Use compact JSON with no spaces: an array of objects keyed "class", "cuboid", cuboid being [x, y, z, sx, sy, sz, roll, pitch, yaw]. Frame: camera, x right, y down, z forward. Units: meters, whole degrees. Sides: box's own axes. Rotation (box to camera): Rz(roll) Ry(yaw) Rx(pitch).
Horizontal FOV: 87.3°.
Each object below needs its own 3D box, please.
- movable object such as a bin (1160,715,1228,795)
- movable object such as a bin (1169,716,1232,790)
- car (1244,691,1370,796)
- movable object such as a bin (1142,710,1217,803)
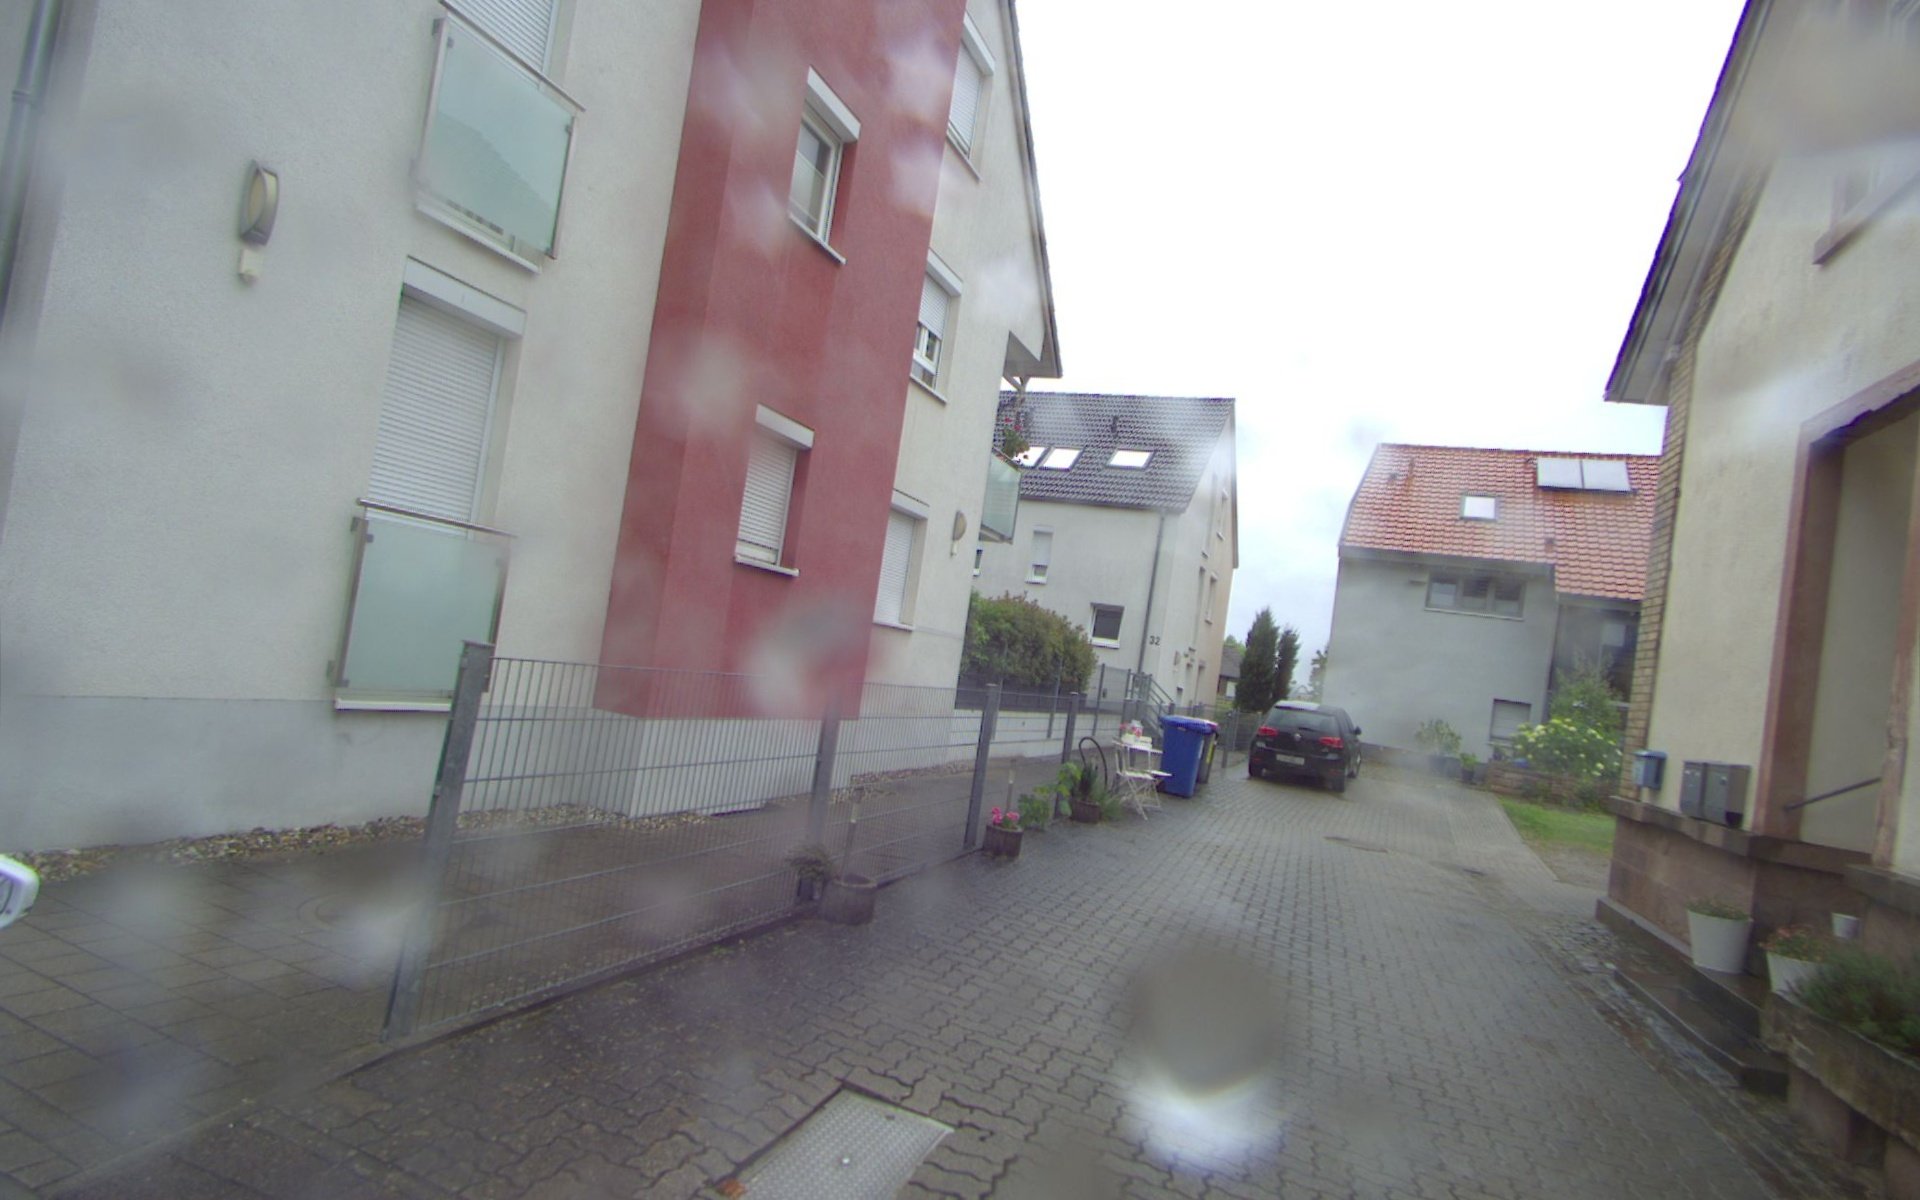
[{"class":"movable object such as a bin","cuboid":[3.537,2.330,15.169,0.789,1.049,0.730,7,-4,22]},{"class":"movable object such as a bin","cuboid":[3.929,2.491,16.419,0.789,1.049,0.730,7,-4,22]},{"class":"car","cuboid":[6.756,2.671,19.385,1.666,1.481,3.568,7,0,27]},{"class":"movable object such as a bin","cuboid":[3.101,2.182,14.152,0.789,1.146,0.730,7,-4,22]}]
